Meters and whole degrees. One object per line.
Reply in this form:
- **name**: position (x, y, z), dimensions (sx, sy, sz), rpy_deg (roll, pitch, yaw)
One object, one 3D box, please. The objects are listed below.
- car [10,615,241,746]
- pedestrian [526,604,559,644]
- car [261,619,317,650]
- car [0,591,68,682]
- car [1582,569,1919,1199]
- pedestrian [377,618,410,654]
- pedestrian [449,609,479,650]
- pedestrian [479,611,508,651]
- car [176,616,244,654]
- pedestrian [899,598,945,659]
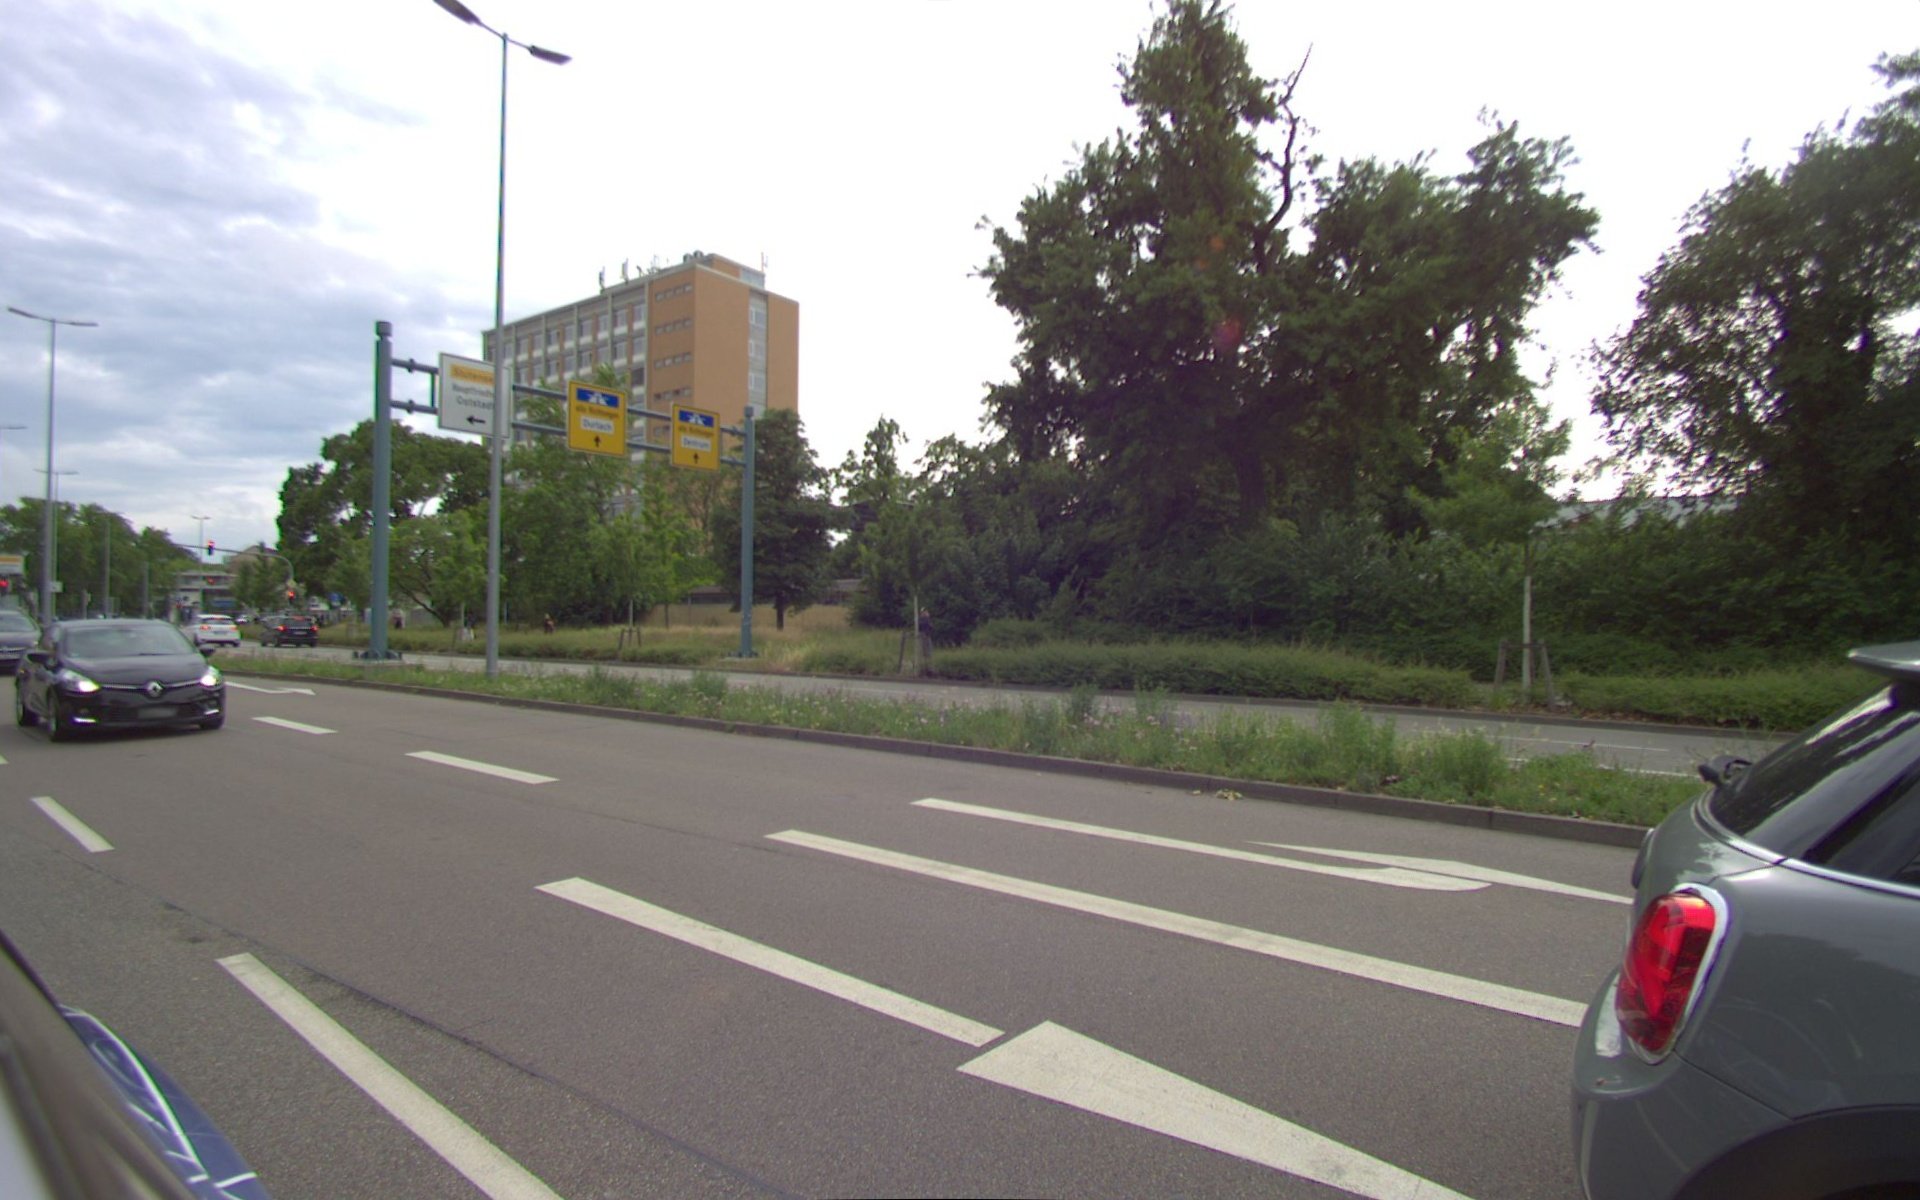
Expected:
- **car**: position (-11.085, 0.953, 13.358), dimensions (3.998, 1.470, 1.709), rpy_deg (-1, -2, 41)
- **pedestrian**: position (-20.636, 1.155, 49.987), dimensions (1.163, 1.933, 1.122), rpy_deg (-1, 0, 44)
- **car**: position (-34.925, 1.766, 52.614), dimensions (1.828, 1.564, 4.005), rpy_deg (1, -1, -42)
- **car**: position (-22.968, 0.847, 24.168), dimensions (3.998, 2.029, 1.973), rpy_deg (-1, -2, 41)
- **car**: position (2.937, 0.626, 1.046), dimensions (3.703, 1.328, 1.604), rpy_deg (-1, -2, 41)
- **pedestrian**: position (-32.584, 2.058, 58.205), dimensions (1.519, 2.029, 1.208), rpy_deg (-1, 0, 40)
- **pedestrian**: position (-25.548, 1.506, 52.133), dimensions (1.218, 2.029, 0.872), rpy_deg (-1, 0, 33)
- **pedestrian**: position (-24.301, 1.599, 52.722), dimensions (1.218, 2.029, 0.872), rpy_deg (-1, 0, 33)
- **car**: position (-37.790, 1.703, 50.967), dimensions (3.997, 1.786, 1.869), rpy_deg (0, 0, 40)
- **pedestrian**: position (-1.059, 0.781, 28.242), dimensions (0.812, 1.637, 0.978), rpy_deg (-1, 0, 38)
